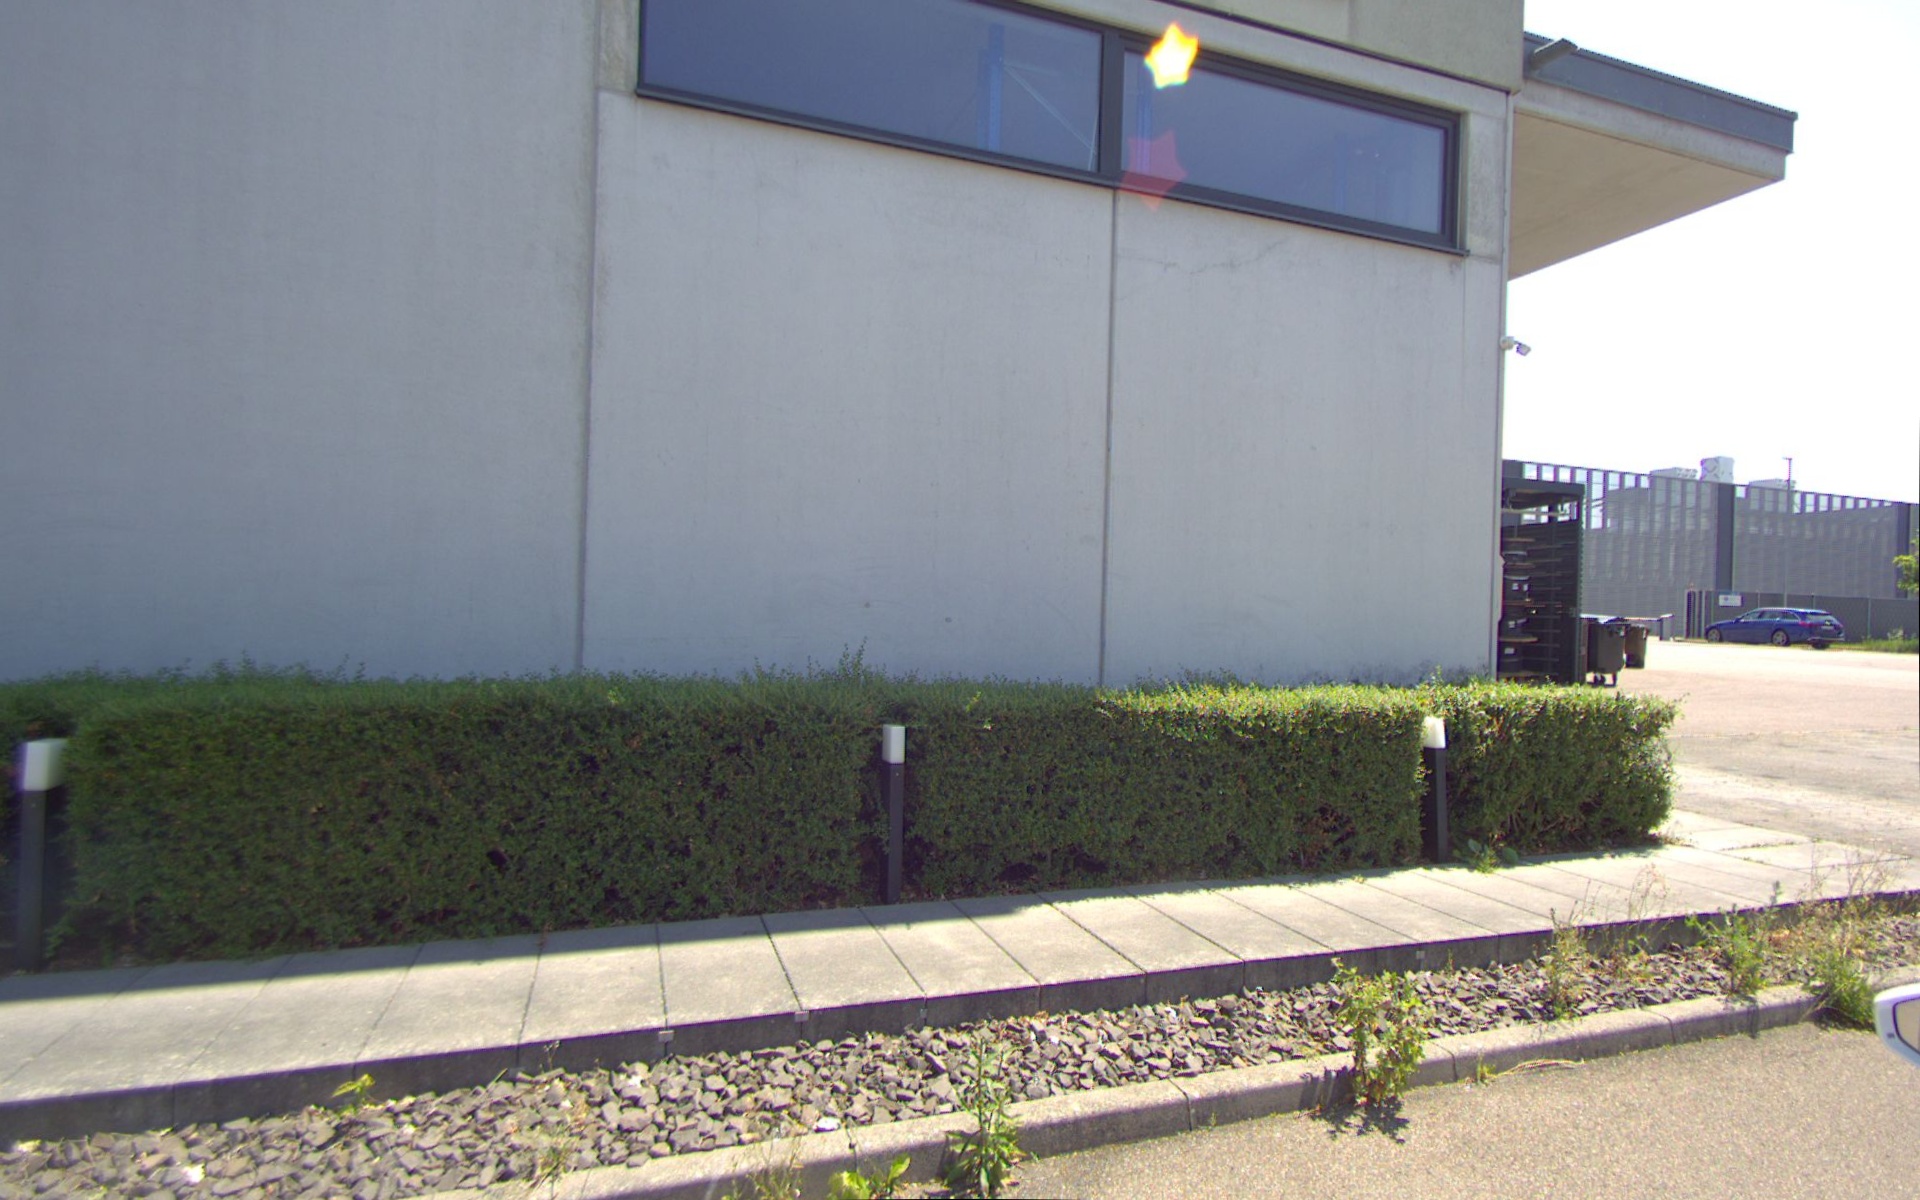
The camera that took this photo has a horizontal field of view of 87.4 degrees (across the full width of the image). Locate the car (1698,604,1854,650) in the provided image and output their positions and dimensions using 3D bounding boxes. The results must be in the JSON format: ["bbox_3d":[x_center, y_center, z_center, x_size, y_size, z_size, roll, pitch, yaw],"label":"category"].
[{"bbox_3d":[30.670,0.966,37.951,1.962,1.512,4.510,1,1,-5],"label":"car"}]

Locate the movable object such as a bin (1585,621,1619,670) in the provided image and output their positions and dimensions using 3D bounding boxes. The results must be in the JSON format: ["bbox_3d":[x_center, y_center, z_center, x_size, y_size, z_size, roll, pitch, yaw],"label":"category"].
[{"bbox_3d":[14.141,1.001,22.134,0.572,1.041,0.424,2,0,38],"label":"movable object such as a bin"}]

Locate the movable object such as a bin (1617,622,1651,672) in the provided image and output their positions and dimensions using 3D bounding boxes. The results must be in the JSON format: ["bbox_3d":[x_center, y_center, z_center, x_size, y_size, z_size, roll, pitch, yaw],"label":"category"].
[{"bbox_3d":[14.600,1.019,21.767,0.569,1.050,0.424,2,0,38],"label":"movable object such as a bin"}]

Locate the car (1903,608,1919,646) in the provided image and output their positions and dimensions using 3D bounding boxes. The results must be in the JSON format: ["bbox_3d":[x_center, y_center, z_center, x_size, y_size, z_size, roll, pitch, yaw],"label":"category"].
[{"bbox_3d":[40.259,1.149,39.281,1.962,1.512,4.850,1,1,-5],"label":"car"}]

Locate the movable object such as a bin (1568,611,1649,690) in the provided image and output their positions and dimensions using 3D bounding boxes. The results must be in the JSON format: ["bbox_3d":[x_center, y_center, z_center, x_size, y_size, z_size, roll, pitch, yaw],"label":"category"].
[{"bbox_3d":[11.556,0.893,17.922,0.869,1.362,0.811,1,0,-14],"label":"movable object such as a bin"}]
